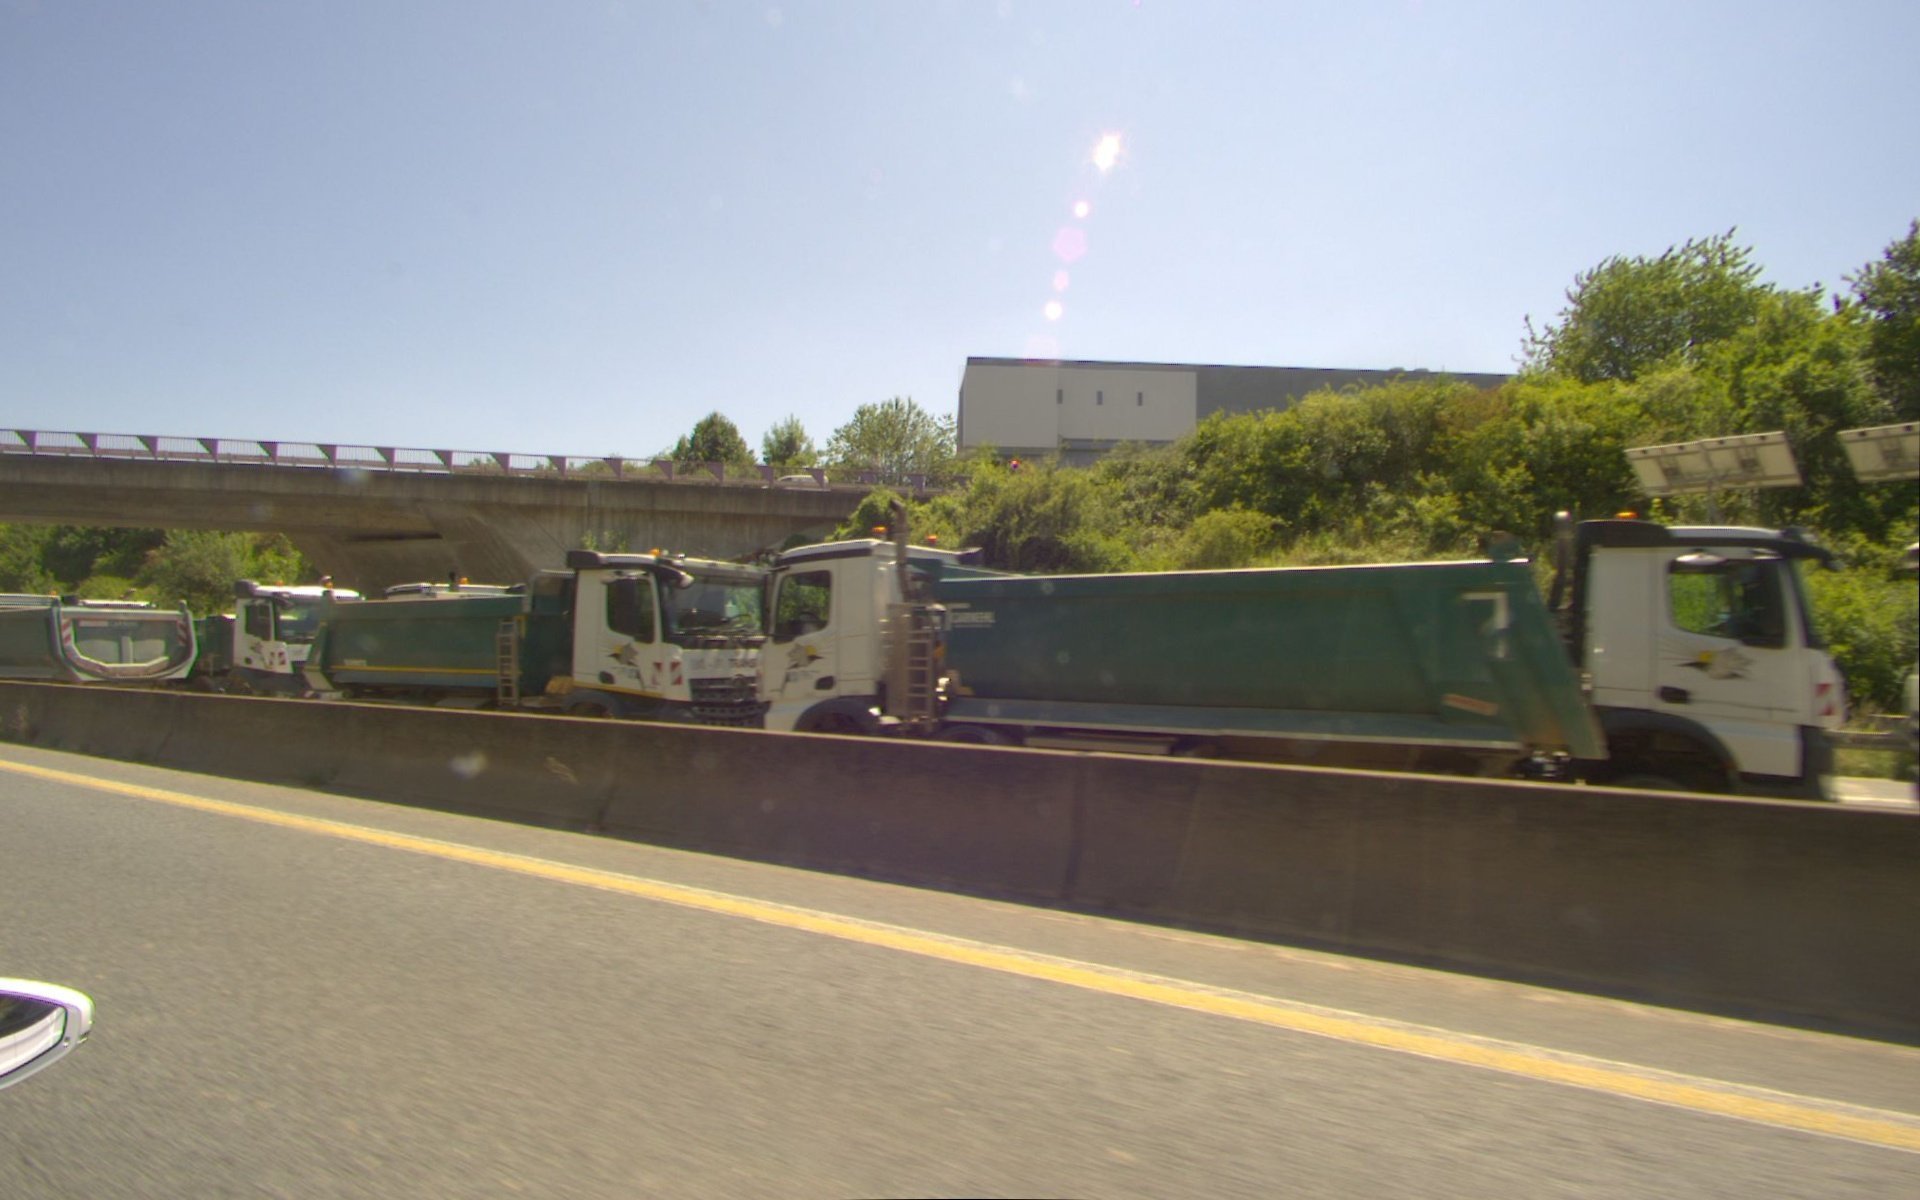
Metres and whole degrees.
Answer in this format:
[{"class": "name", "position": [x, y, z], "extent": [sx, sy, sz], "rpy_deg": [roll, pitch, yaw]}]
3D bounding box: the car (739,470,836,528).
[{"class": "car", "position": [-8.731, -5.111, 51.110], "extent": [4.687, 2.571, 2.261], "rpy_deg": [0, -2, -4]}]

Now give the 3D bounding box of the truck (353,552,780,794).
[{"class": "truck", "position": [-7.865, 1.265, 19.343], "extent": [9.189, 3.808, 2.684], "rpy_deg": [-1, -2, 32]}]

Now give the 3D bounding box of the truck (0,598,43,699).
[{"class": "truck", "position": [-38.496, 1.802, 38.205], "extent": [9.189, 3.602, 2.684], "rpy_deg": [-1, -2, 31]}]

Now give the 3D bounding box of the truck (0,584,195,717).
[{"class": "truck", "position": [-28.118, 1.543, 31.948], "extent": [9.189, 3.774, 2.684], "rpy_deg": [-1, -2, 31]}]

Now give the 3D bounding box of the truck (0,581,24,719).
[{"class": "truck", "position": [-31.636, 1.455, 30.143], "extent": [9.189, 3.905, 2.684], "rpy_deg": [-1, -2, 32]}]

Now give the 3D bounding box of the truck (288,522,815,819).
[{"class": "truck", "position": [-6.708, 0.963, 15.675], "extent": [9.189, 3.602, 2.684], "rpy_deg": [-1, -2, 31]}]

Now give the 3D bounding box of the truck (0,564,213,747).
[{"class": "truck", "position": [-21.892, 1.269, 24.397], "extent": [9.189, 3.808, 2.684], "rpy_deg": [-1, -2, 32]}]

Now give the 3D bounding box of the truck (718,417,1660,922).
[{"class": "truck", "position": [1.735, 0.601, 10.697], "extent": [9.189, 3.602, 2.684], "rpy_deg": [-1, -2, 31]}]

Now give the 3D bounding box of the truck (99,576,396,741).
[{"class": "truck", "position": [-18.256, 1.385, 25.412], "extent": [9.189, 3.602, 2.684], "rpy_deg": [-1, -2, 31]}]

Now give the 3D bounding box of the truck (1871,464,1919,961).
[{"class": "truck", "position": [10.857, 0.754, 4.753], "extent": [9.273, 3.602, 2.682], "rpy_deg": [-1, -2, 33]}]

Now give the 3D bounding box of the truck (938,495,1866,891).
[{"class": "truck", "position": [4.437, 0.917, 12.262], "extent": [9.461, 3.421, 2.684], "rpy_deg": [-1, -2, 31]}]
